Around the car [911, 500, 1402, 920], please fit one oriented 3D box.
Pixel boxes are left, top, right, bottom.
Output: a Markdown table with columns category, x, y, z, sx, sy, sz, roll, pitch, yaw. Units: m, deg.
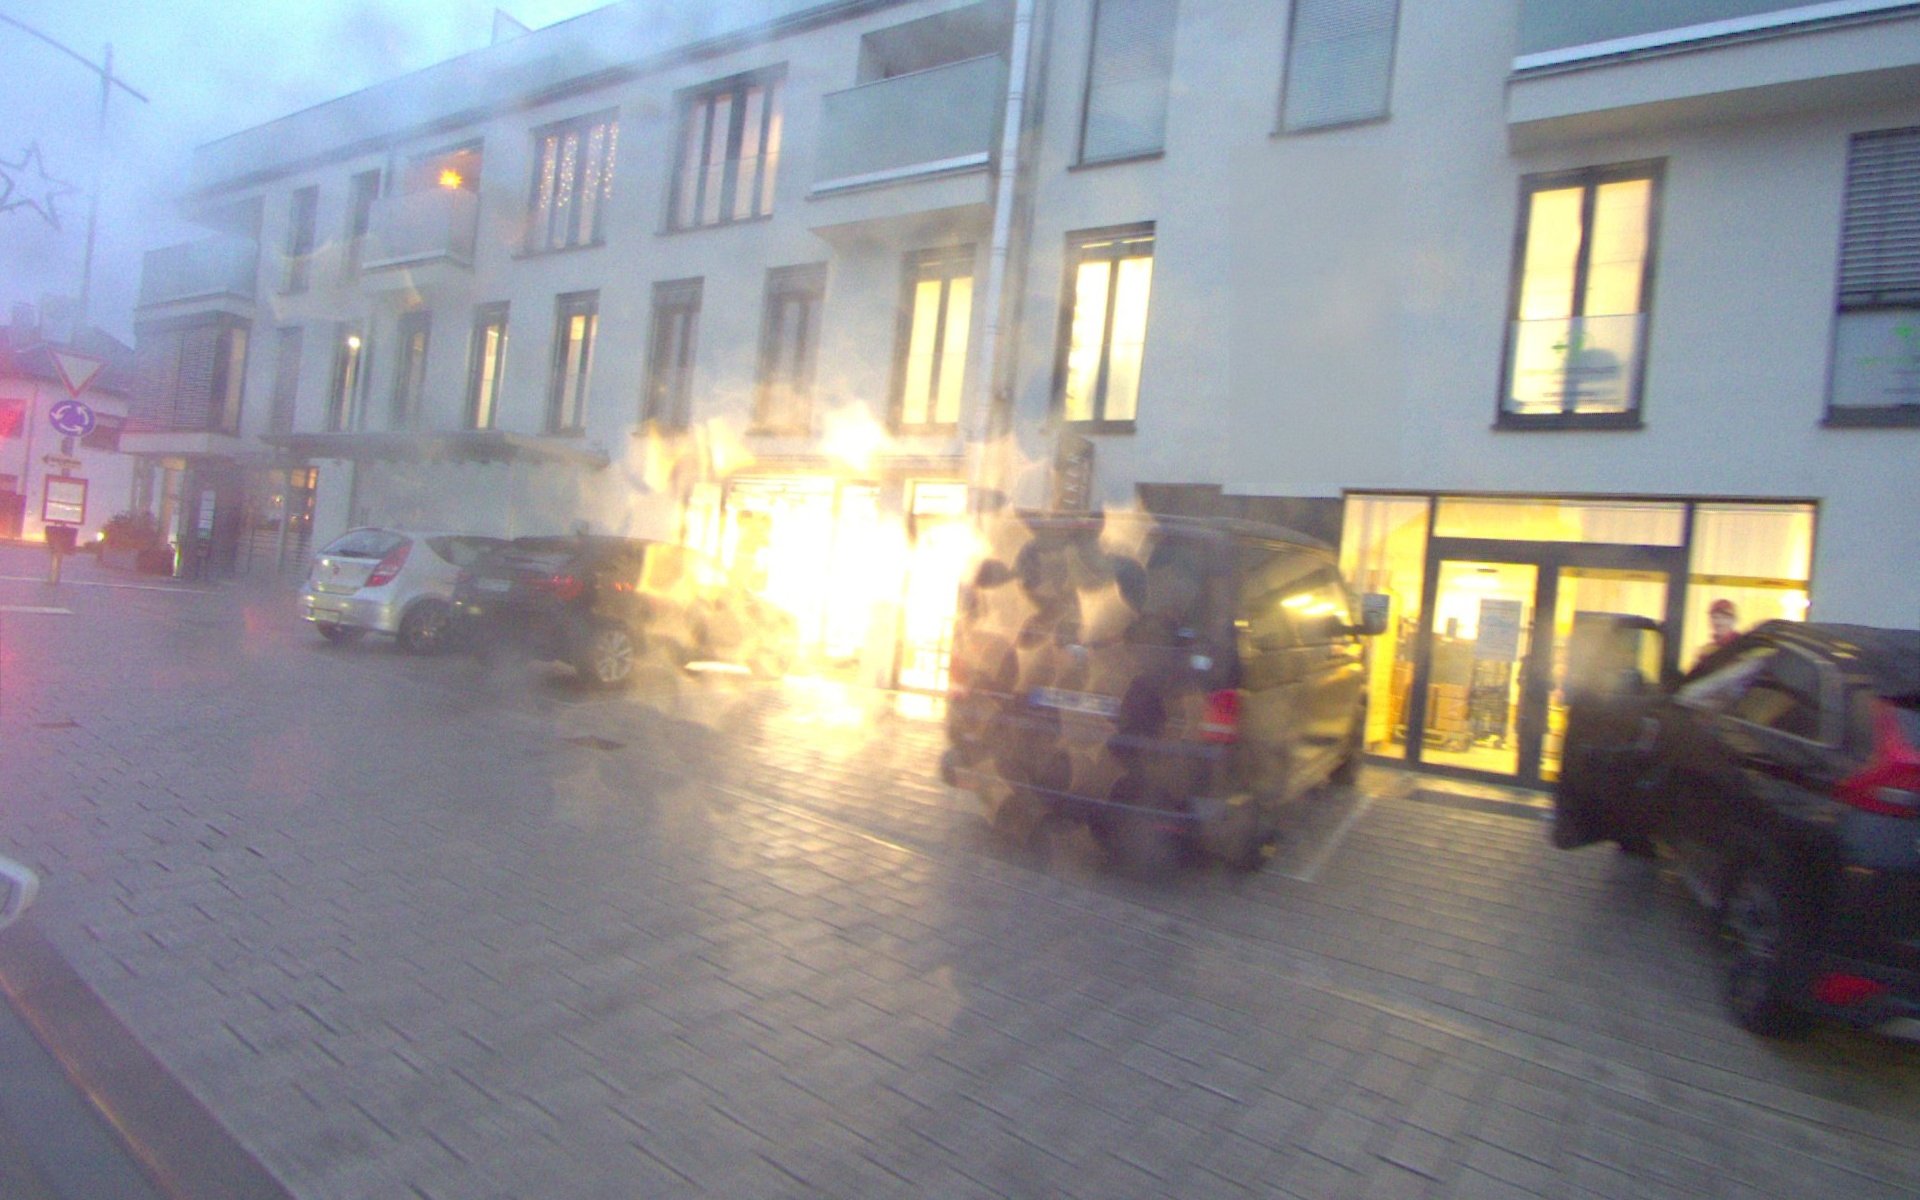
| category | x | y | z | sx | sy | sz | roll | pitch | yaw |
| --- | --- | --- | --- | --- | --- | --- | --- | --- | --- |
| car | 1.747 | 0.459 | 7.195 | 1.917 | 1.947 | 4.561 | 6 | 4 | 30 |

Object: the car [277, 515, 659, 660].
| category | x | y | z | sx | sy | sz | roll | pitch | yaw |
| --- | --- | --- | --- | --- | --- | --- | --- | --- | --- |
| car | -6.136 | -0.105 | 13.116 | 1.761 | 1.479 | 4.211 | 6 | 1 | 26 |

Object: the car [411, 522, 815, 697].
| category | x | y | z | sx | sy | sz | roll | pitch | yaw |
| --- | --- | --- | --- | --- | --- | --- | --- | --- | --- |
| car | -3.621 | 0.115 | 11.356 | 1.761 | 1.479 | 4.211 | 6 | 1 | 26 |

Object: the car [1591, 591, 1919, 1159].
| category | x | y | z | sx | sy | sz | roll | pitch | yaw |
| --- | --- | --- | --- | --- | --- | --- | --- | --- | --- |
| car | 4.518 | 0.953 | 4.850 | 1.771 | 1.663 | 4.176 | 7 | 6 | 24 |
